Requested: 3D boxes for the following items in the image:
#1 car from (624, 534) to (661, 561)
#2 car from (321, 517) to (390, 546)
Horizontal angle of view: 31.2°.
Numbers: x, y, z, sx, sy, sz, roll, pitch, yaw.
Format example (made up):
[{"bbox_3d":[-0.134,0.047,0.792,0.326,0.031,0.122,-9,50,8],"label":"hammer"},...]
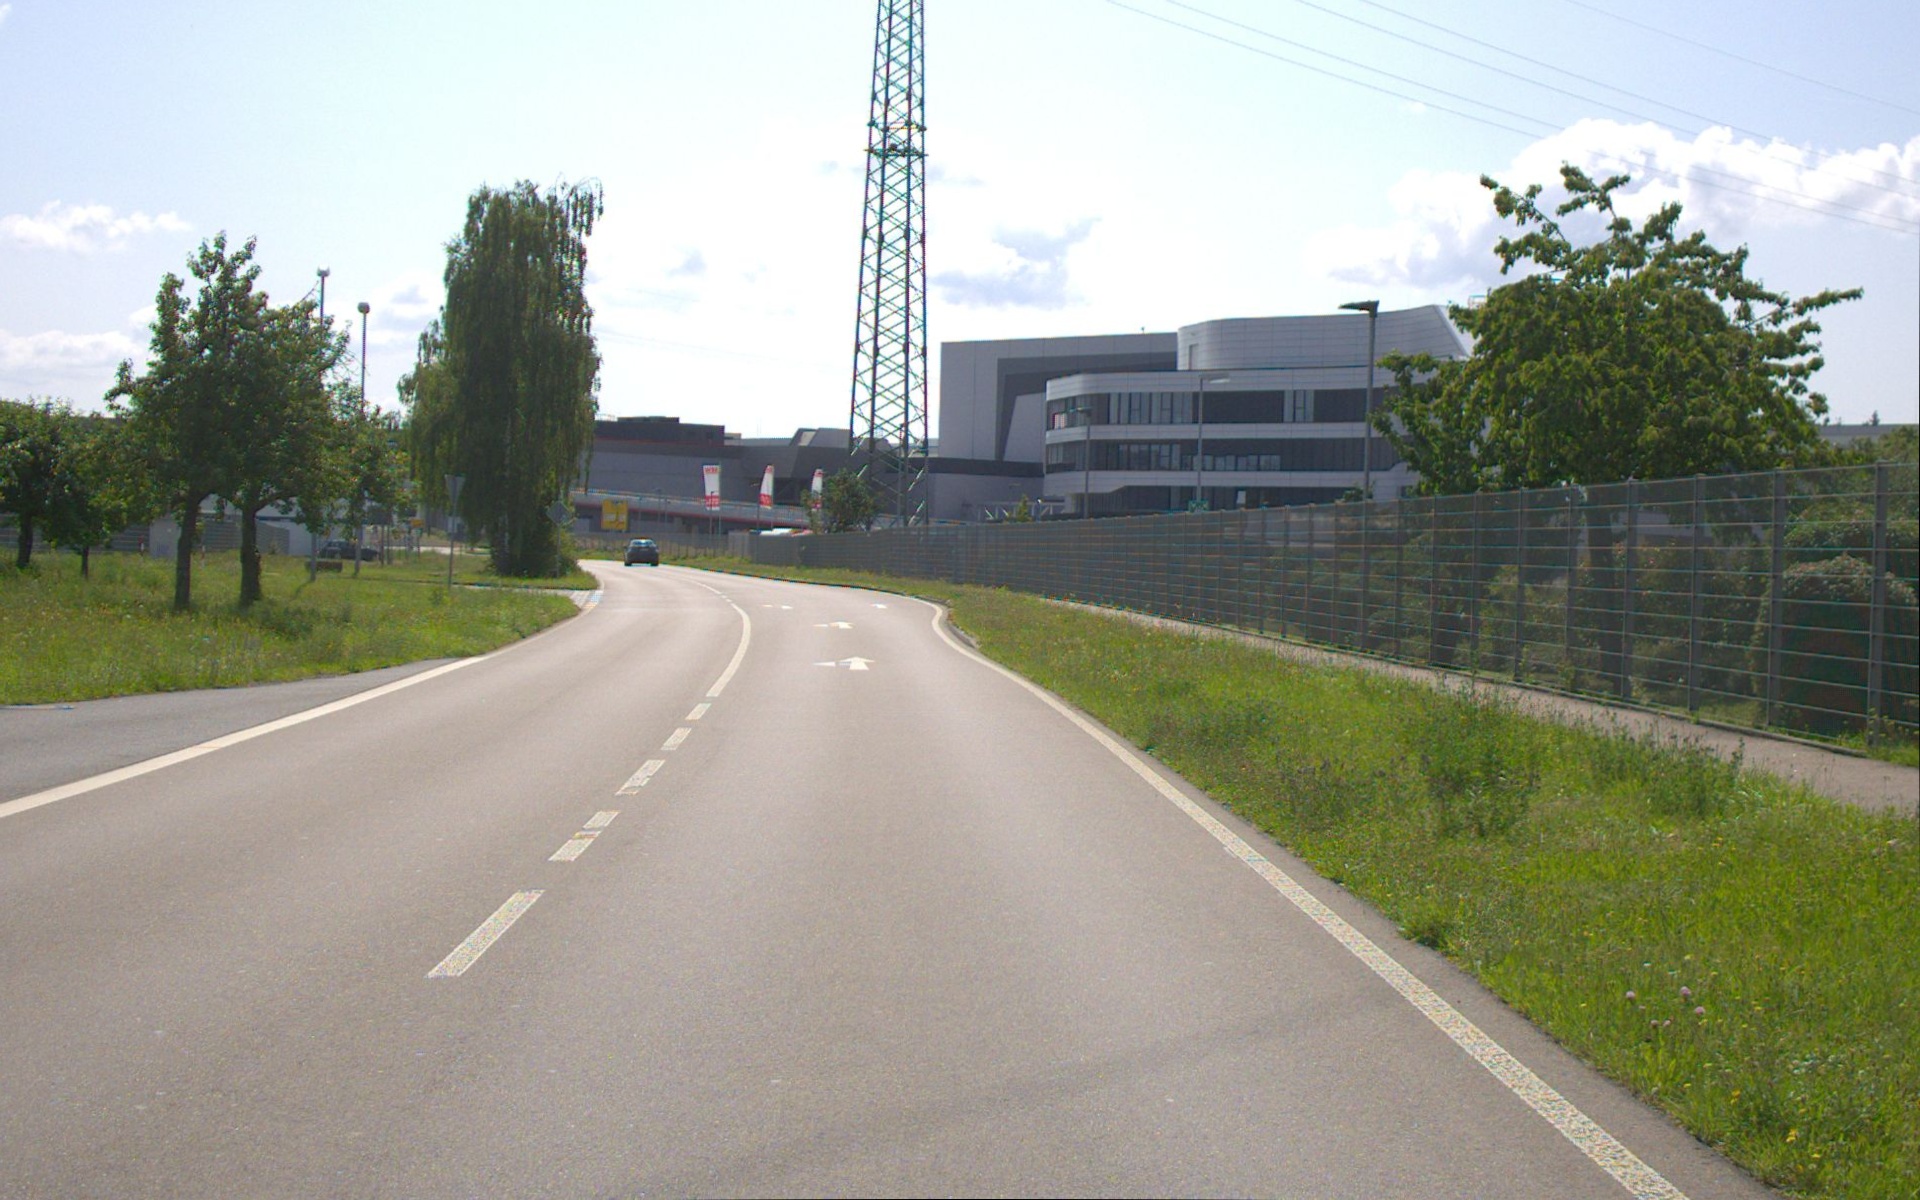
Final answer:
[{"bbox_3d":[-18.493,-3.052,200.493,2.012,1.503,4.001,2,1,-4],"label":"car"},{"bbox_3d":[-36.406,-4.130,207.101,3.986,1.568,2.001,2,1,-9],"label":"car"}]
